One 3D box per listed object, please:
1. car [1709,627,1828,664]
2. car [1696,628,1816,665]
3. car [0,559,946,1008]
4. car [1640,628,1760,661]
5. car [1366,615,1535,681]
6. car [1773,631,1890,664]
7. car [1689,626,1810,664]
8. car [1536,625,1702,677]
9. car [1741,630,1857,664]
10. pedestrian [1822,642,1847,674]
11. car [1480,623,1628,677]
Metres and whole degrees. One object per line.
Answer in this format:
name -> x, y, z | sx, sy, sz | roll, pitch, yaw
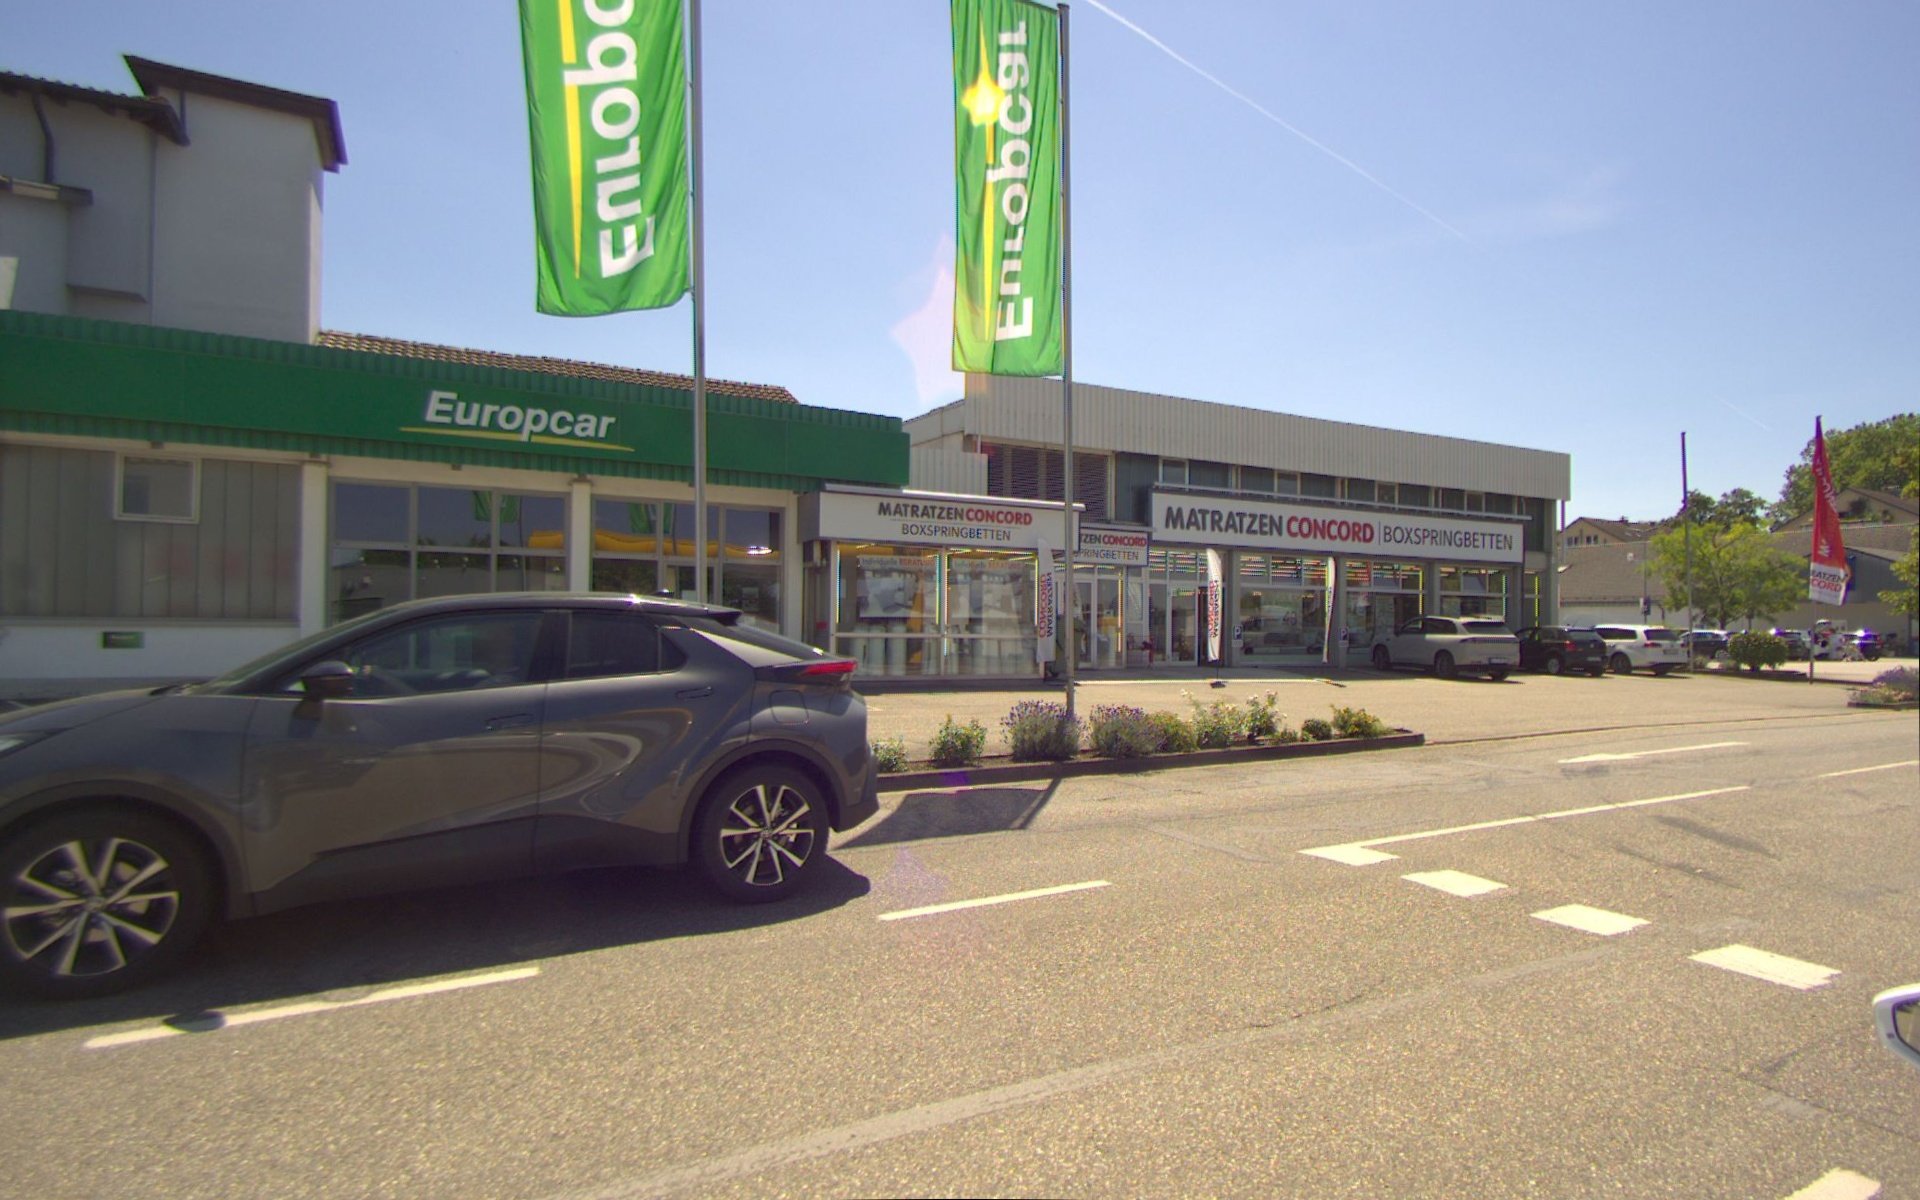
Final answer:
car -> 41.297, 2.282, 51.427 | 2.089, 1.677, 4.292 | 2, -1, -30
car -> 39.183, 2.254, 49.539 | 1.893, 1.627, 4.285 | 2, -1, -34
car -> -2.270, 0.698, 5.113 | 4.089, 1.547, 1.754 | 1, -2, -30
car -> 34.635, 2.071, 47.115 | 1.751, 1.387, 4.209 | 2, -1, -34
car -> 13.678, 1.295, 28.356 | 1.965, 1.686, 4.536 | 1, -1, -11
car -> 45.618, 2.467, 52.671 | 1.806, 1.550, 4.292 | 2, -1, -30
car -> 37.386, 2.102, 47.655 | 1.751, 1.610, 4.209 | 2, -1, -34
car -> 20.627, 1.555, 31.653 | 1.946, 1.466, 4.186 | 1, -1, -14
car -> 43.528, 2.395, 52.198 | 1.806, 1.550, 4.292 | 2, -1, -30
pedestrian -> 42.675, 2.818, 49.028 | 0.877, 1.503, 0.805 | 1, -1, 39
car -> 18.070, 1.476, 30.748 | 1.965, 1.494, 3.630 | 1, -1, -11
